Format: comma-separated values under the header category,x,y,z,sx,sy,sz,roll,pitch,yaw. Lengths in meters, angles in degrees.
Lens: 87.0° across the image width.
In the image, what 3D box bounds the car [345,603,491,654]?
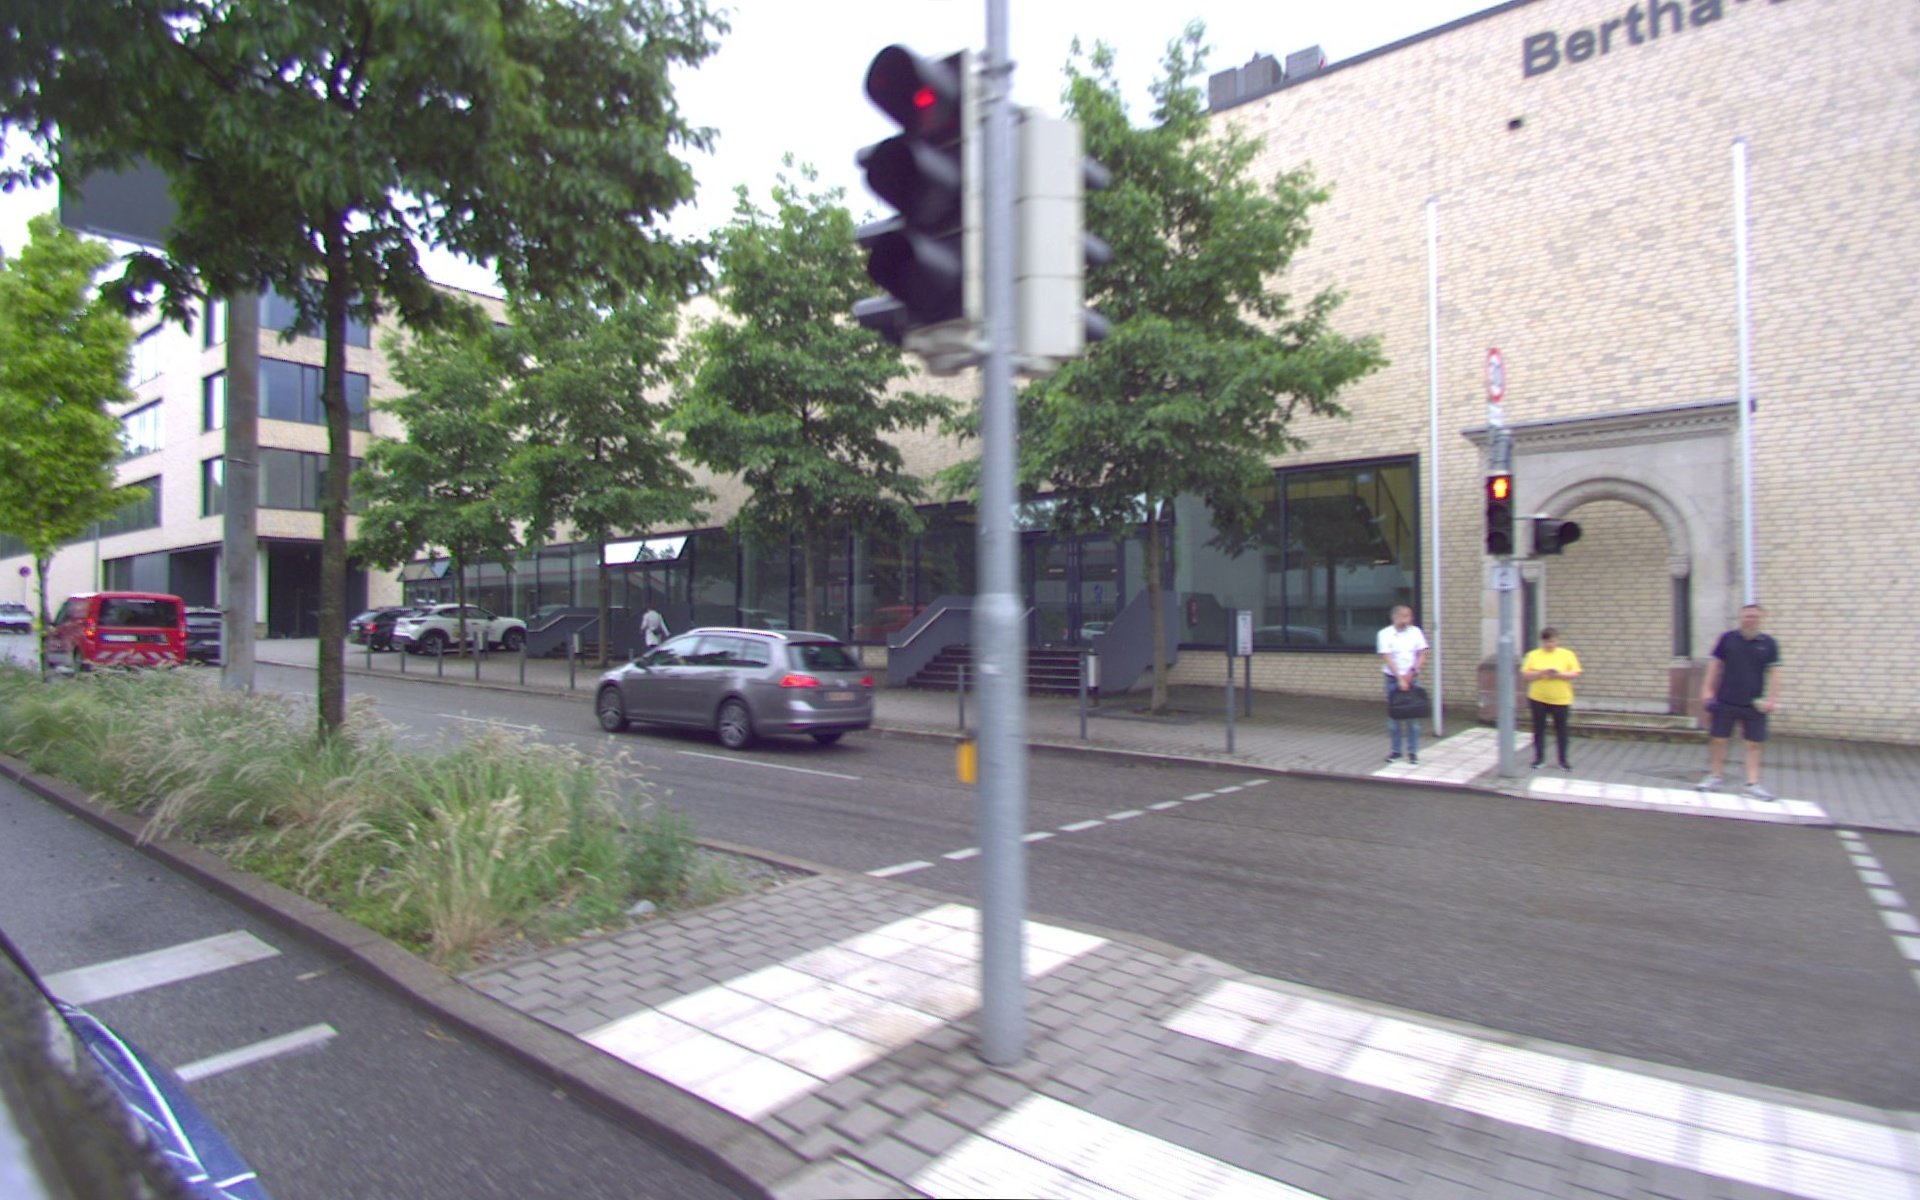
category,x,y,z,sx,sy,sz,roll,pitch,yaw
car,-18.347,0.927,34.348,2.000,1.597,3.944,-1,0,43

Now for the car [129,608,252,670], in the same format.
category,x,y,z,sx,sy,sz,roll,pitch,yaw
car,-22.156,1.123,29.097,4.294,1.620,1.655,-1,-5,37

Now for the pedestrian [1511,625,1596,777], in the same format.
category,x,y,z,sx,sy,sz,roll,pitch,yaw
pedestrian,6.285,1.035,10.711,0.691,1.528,0.588,-1,0,38

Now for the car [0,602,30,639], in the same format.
category,x,y,z,sx,sy,sz,roll,pitch,yaw
car,-45.408,0.943,47.514,4.294,1.620,1.754,-1,-5,37

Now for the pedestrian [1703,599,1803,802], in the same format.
category,x,y,z,sx,sy,sz,roll,pitch,yaw
pedestrian,7.338,0.893,9.382,0.691,1.784,0.588,-1,0,38

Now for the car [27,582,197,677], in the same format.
category,x,y,z,sx,sy,sz,roll,pitch,yaw
car,-18.495,0.669,22.018,4.294,1.866,1.833,-1,-5,37

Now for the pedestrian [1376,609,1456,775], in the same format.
category,x,y,z,sx,sy,sz,roll,pitch,yaw
pedestrian,5.007,0.977,11.110,0.690,1.744,0.589,-1,0,34

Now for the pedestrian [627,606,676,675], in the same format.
category,x,y,z,sx,sy,sz,roll,pitch,yaw
pedestrian,-7.695,0.982,25.203,0.793,1.660,0.977,-1,0,-45

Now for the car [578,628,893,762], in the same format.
category,x,y,z,sx,sy,sz,roll,pitch,yaw
car,-3.046,1.139,13.305,4.294,1.481,1.655,-1,-4,37

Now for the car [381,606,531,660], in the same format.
category,x,y,z,sx,sy,sz,roll,pitch,yaw
car,-16.398,1.013,33.046,2.000,1.597,3.944,-1,0,43
